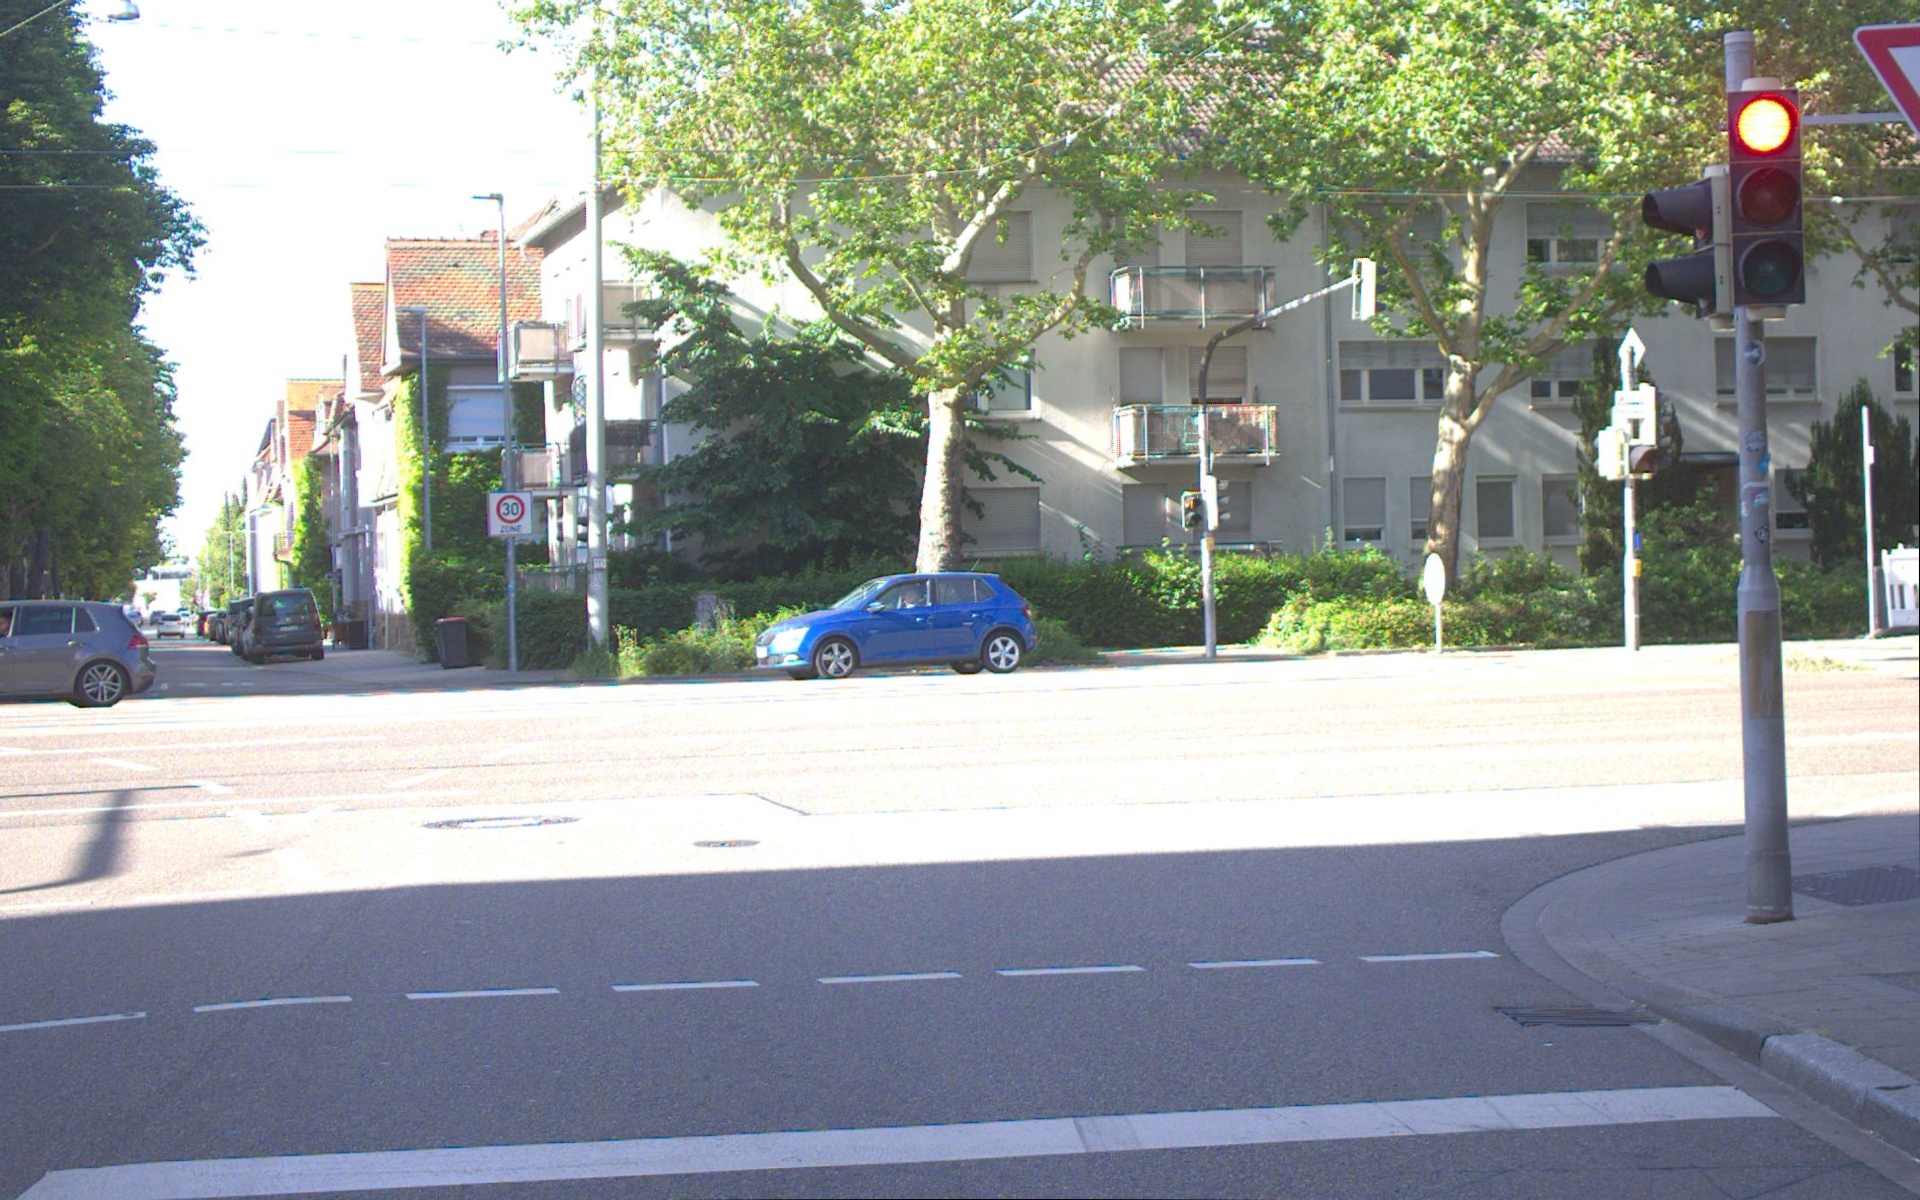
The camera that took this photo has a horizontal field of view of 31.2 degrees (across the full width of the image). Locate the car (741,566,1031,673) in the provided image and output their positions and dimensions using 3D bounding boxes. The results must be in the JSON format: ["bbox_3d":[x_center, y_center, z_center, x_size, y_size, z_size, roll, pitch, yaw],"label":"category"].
[{"bbox_3d":[-1.054,0.255,48.602,3.779,1.395,1.646,-1,1,-16],"label":"car"}]

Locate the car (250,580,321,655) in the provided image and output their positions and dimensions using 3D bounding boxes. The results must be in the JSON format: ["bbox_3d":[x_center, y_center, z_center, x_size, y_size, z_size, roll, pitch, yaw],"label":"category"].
[{"bbox_3d":[-18.551,0.468,94.481,1.772,1.912,3.535,-3,1,-12],"label":"car"}]

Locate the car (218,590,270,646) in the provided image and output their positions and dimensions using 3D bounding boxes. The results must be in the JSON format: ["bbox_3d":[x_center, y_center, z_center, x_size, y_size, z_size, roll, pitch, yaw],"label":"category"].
[{"bbox_3d":[-26.703,0.664,128.149,1.772,1.912,3.535,-3,1,-12],"label":"car"}]

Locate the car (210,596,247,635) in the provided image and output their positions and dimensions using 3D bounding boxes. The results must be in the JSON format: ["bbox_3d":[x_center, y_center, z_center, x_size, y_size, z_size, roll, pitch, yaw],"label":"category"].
[{"bbox_3d":[-38.470,0.811,180.816,1.772,1.912,3.535,-3,1,-12],"label":"car"}]

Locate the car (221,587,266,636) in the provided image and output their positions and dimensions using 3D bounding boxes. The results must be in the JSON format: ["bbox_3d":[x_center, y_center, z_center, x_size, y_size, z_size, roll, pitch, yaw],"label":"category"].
[{"bbox_3d":[-30.533,0.484,146.434,1.772,1.912,3.535,-3,1,-12],"label":"car"}]

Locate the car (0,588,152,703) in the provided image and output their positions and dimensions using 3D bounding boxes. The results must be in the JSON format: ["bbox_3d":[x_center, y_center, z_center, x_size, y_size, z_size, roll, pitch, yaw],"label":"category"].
[{"bbox_3d":[-12.430,0.586,43.792,3.938,1.395,1.646,-1,1,-21],"label":"car"}]

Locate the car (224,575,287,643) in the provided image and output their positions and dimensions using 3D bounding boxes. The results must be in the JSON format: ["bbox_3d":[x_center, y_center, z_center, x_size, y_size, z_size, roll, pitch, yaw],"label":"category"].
[{"bbox_3d":[-21.454,0.265,104.639,1.772,1.912,3.535,-3,1,-12],"label":"car"}]
